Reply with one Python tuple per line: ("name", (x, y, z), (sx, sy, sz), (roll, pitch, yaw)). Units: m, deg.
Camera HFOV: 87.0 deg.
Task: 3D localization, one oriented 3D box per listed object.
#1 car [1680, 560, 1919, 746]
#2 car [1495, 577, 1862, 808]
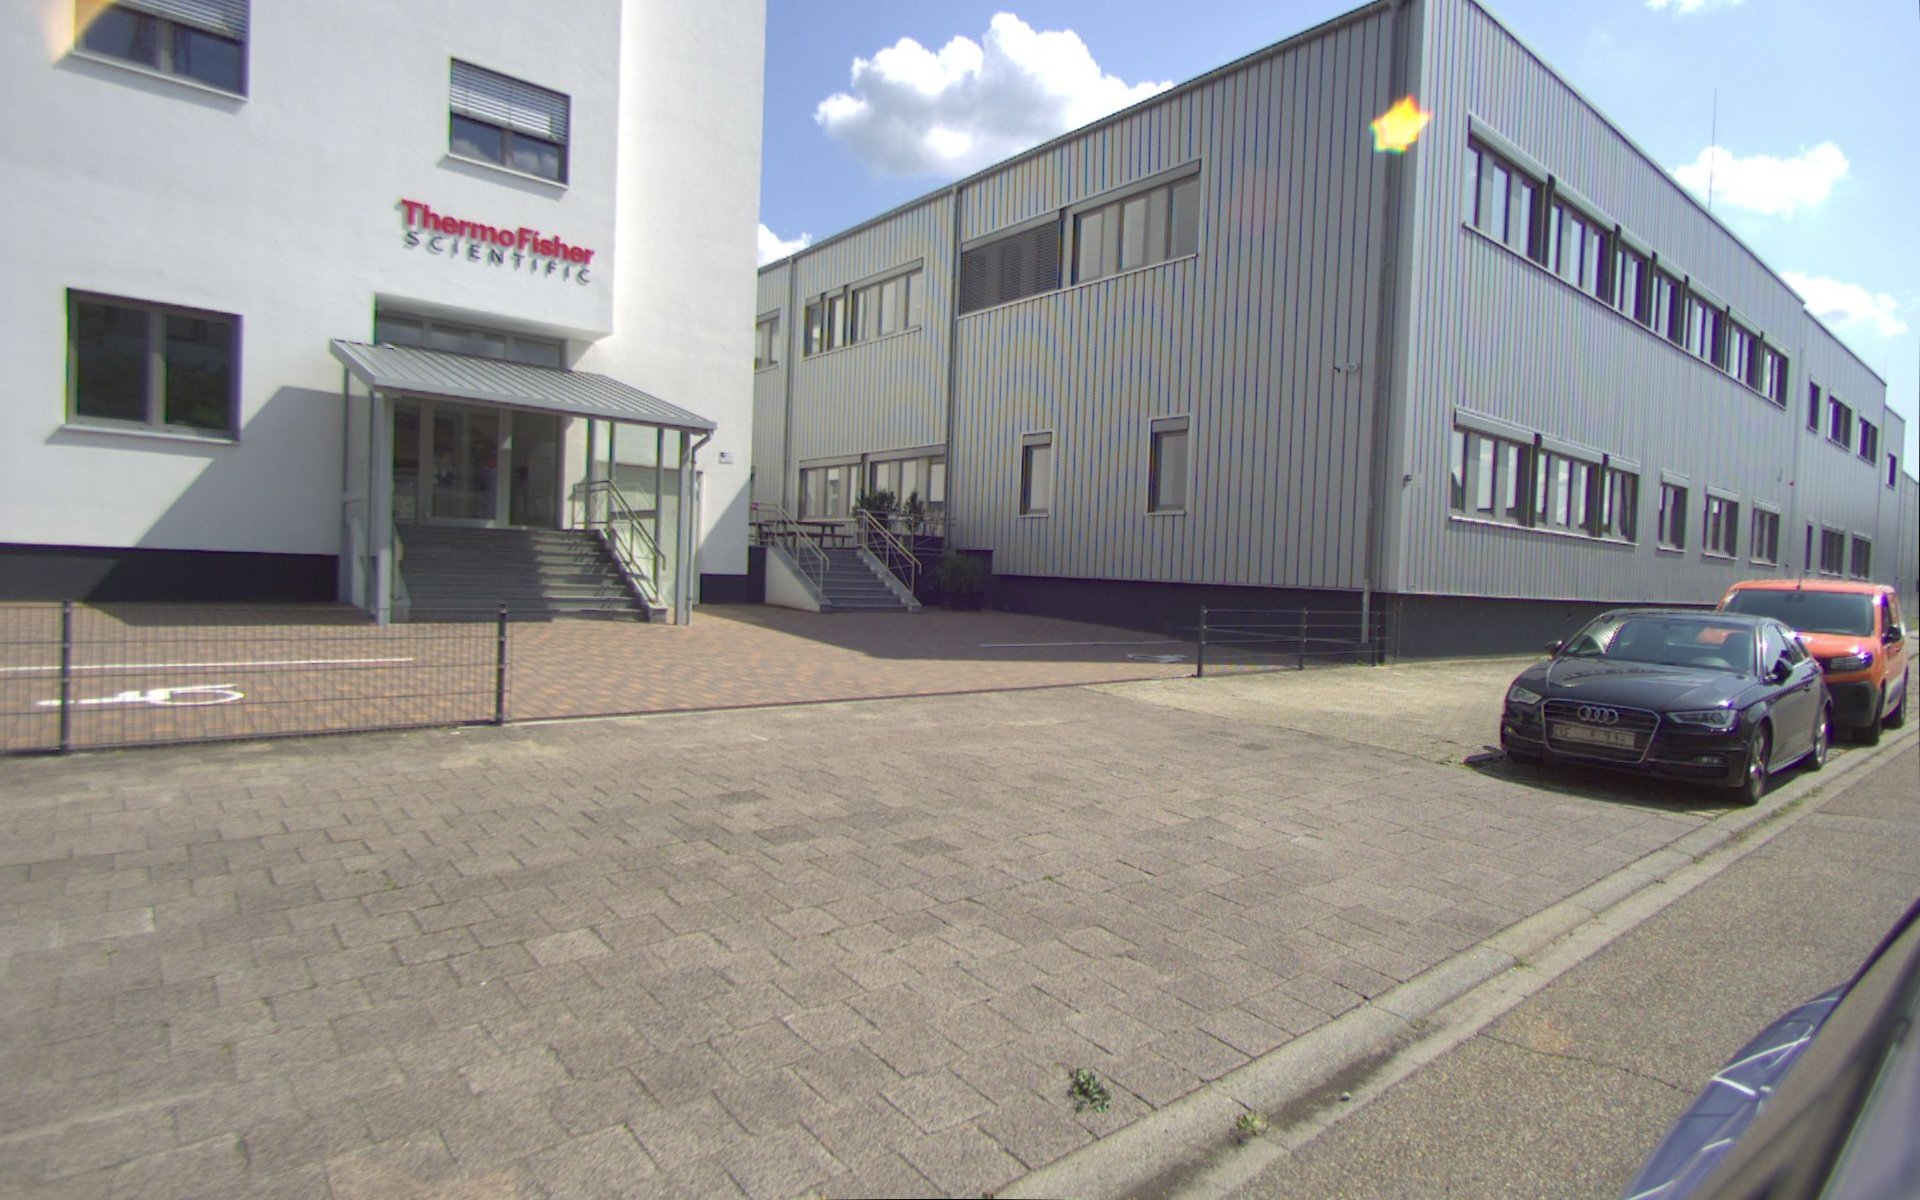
("car", (10.646, 0.549, 12.599), (4.377, 1.916, 1.874), (1, 0, -43))
("car", (6.436, 0.639, 8.890), (4.103, 1.577, 1.662), (0, 0, -40))
